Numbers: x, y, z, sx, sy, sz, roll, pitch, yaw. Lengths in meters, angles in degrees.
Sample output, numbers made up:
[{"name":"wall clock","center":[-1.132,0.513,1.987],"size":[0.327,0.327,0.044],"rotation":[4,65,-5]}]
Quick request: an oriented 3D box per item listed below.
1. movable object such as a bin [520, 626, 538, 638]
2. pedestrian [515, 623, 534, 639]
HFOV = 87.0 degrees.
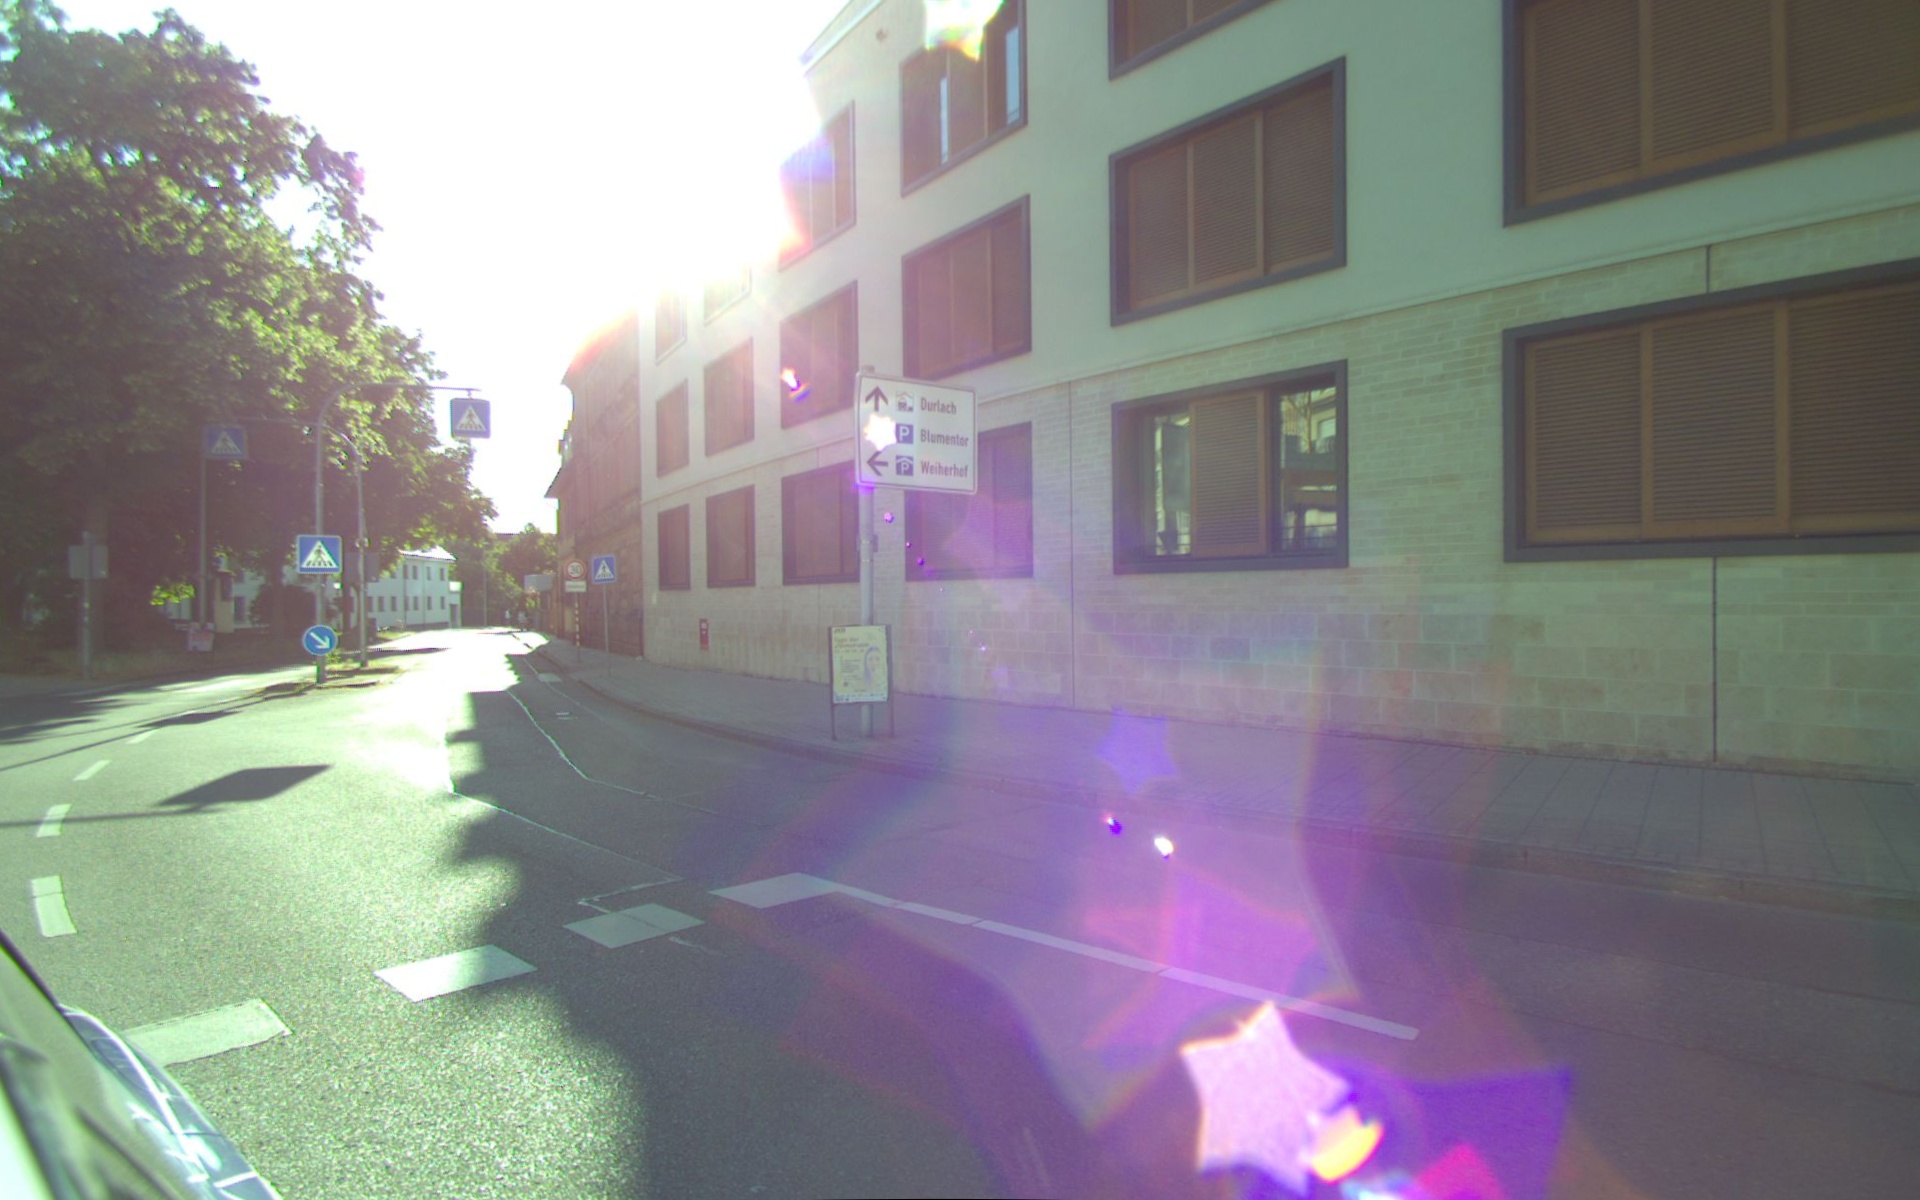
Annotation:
[{"name":"movable object such as a bin","center":[-34.854,2.603,81.915],"size":[1.026,0.935,0.838],"rotation":[-3,0,10]},{"name":"pedestrian","center":[-35.270,2.496,81.992],"size":[1.145,1.238,0.838],"rotation":[-3,1,10]}]
